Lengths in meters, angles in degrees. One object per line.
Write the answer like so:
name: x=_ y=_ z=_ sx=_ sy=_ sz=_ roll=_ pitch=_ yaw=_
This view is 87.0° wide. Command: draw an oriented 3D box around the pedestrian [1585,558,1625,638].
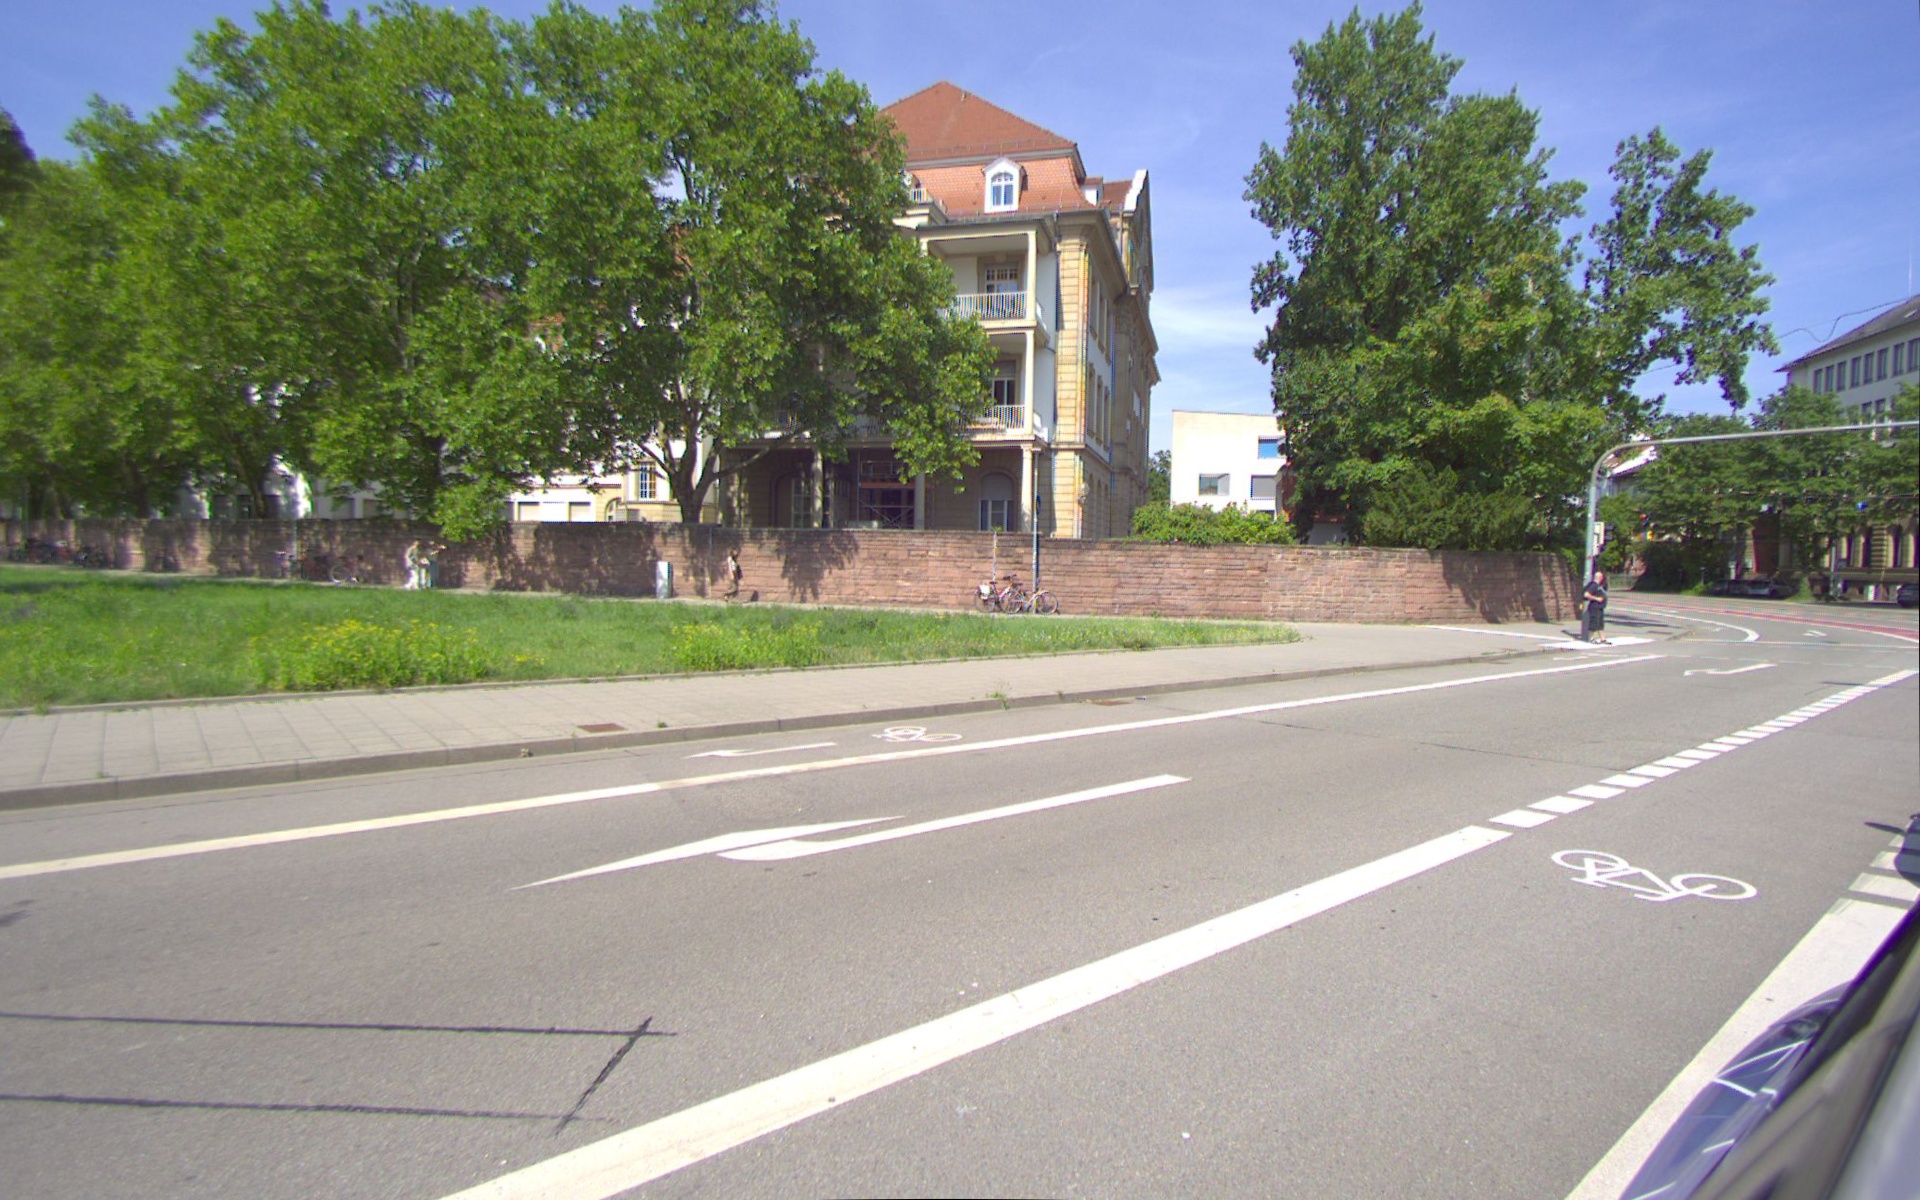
pedestrian: x=16.735 y=-0.061 z=26.269 sx=0.790 sy=2.038 sz=0.608 roll=2 pitch=2 yaw=35

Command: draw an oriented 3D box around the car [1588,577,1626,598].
car: x=60.821 y=-1.185 z=95.194 sx=1.973 sy=1.915 sz=3.979 roll=0 pitch=1 yaw=17

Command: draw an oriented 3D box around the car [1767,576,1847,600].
car: x=62.007 y=-0.882 z=74.168 sx=3.942 sy=1.682 sz=1.992 roll=0 pitch=3 yaw=15

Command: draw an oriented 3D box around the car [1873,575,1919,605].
car: x=57.913 y=-0.637 z=60.858 sx=3.942 sy=1.682 sz=1.992 roll=0 pitch=3 yaw=15

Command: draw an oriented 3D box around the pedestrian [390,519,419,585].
pedestrian: x=-17.516 y=-1.509 z=31.918 sx=0.586 sy=2.038 sz=0.522 roll=1 pitch=2 yaw=9

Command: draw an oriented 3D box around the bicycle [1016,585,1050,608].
bicycle: x=2.079 y=-0.106 z=28.825 sx=0.929 sy=0.609 sz=0.275 roll=1 pitch=2 yaw=-2

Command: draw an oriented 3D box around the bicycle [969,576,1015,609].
bicycle: x=0.905 y=-0.208 z=28.603 sx=1.202 sy=0.894 sz=0.395 roll=0 pitch=2 yaw=-21

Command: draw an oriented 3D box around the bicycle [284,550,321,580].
bicycle: x=-24.368 y=-1.303 z=37.488 sx=1.432 sy=1.046 sz=0.444 roll=3 pitch=2 yaw=24

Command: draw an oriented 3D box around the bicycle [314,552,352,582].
bicycle: x=-22.857 y=-1.215 z=36.870 sx=1.432 sy=1.046 sz=0.444 roll=3 pitch=2 yaw=24

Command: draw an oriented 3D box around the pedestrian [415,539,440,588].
pedestrian: x=-17.868 y=-1.225 z=33.951 sx=0.700 sy=1.597 sz=0.516 roll=3 pitch=3 yaw=41

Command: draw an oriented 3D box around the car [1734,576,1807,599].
car: x=63.479 y=-0.990 z=79.321 sx=3.941 sy=1.682 sz=1.993 roll=0 pitch=3 yaw=14

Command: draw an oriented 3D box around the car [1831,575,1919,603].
car: x=59.079 y=-0.713 z=65.190 sx=3.940 sy=1.682 sz=1.993 roll=-1 pitch=3 yaw=14

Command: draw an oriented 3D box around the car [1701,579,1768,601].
car: x=64.295 y=-0.822 z=84.069 sx=3.943 sy=1.682 sz=1.992 roll=0 pitch=3 yaw=16

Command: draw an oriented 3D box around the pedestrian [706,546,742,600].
pedestrian: x=-7.012 y=-0.796 z=30.041 sx=0.900 sy=1.567 sz=0.501 roll=2 pitch=2 yaw=13
